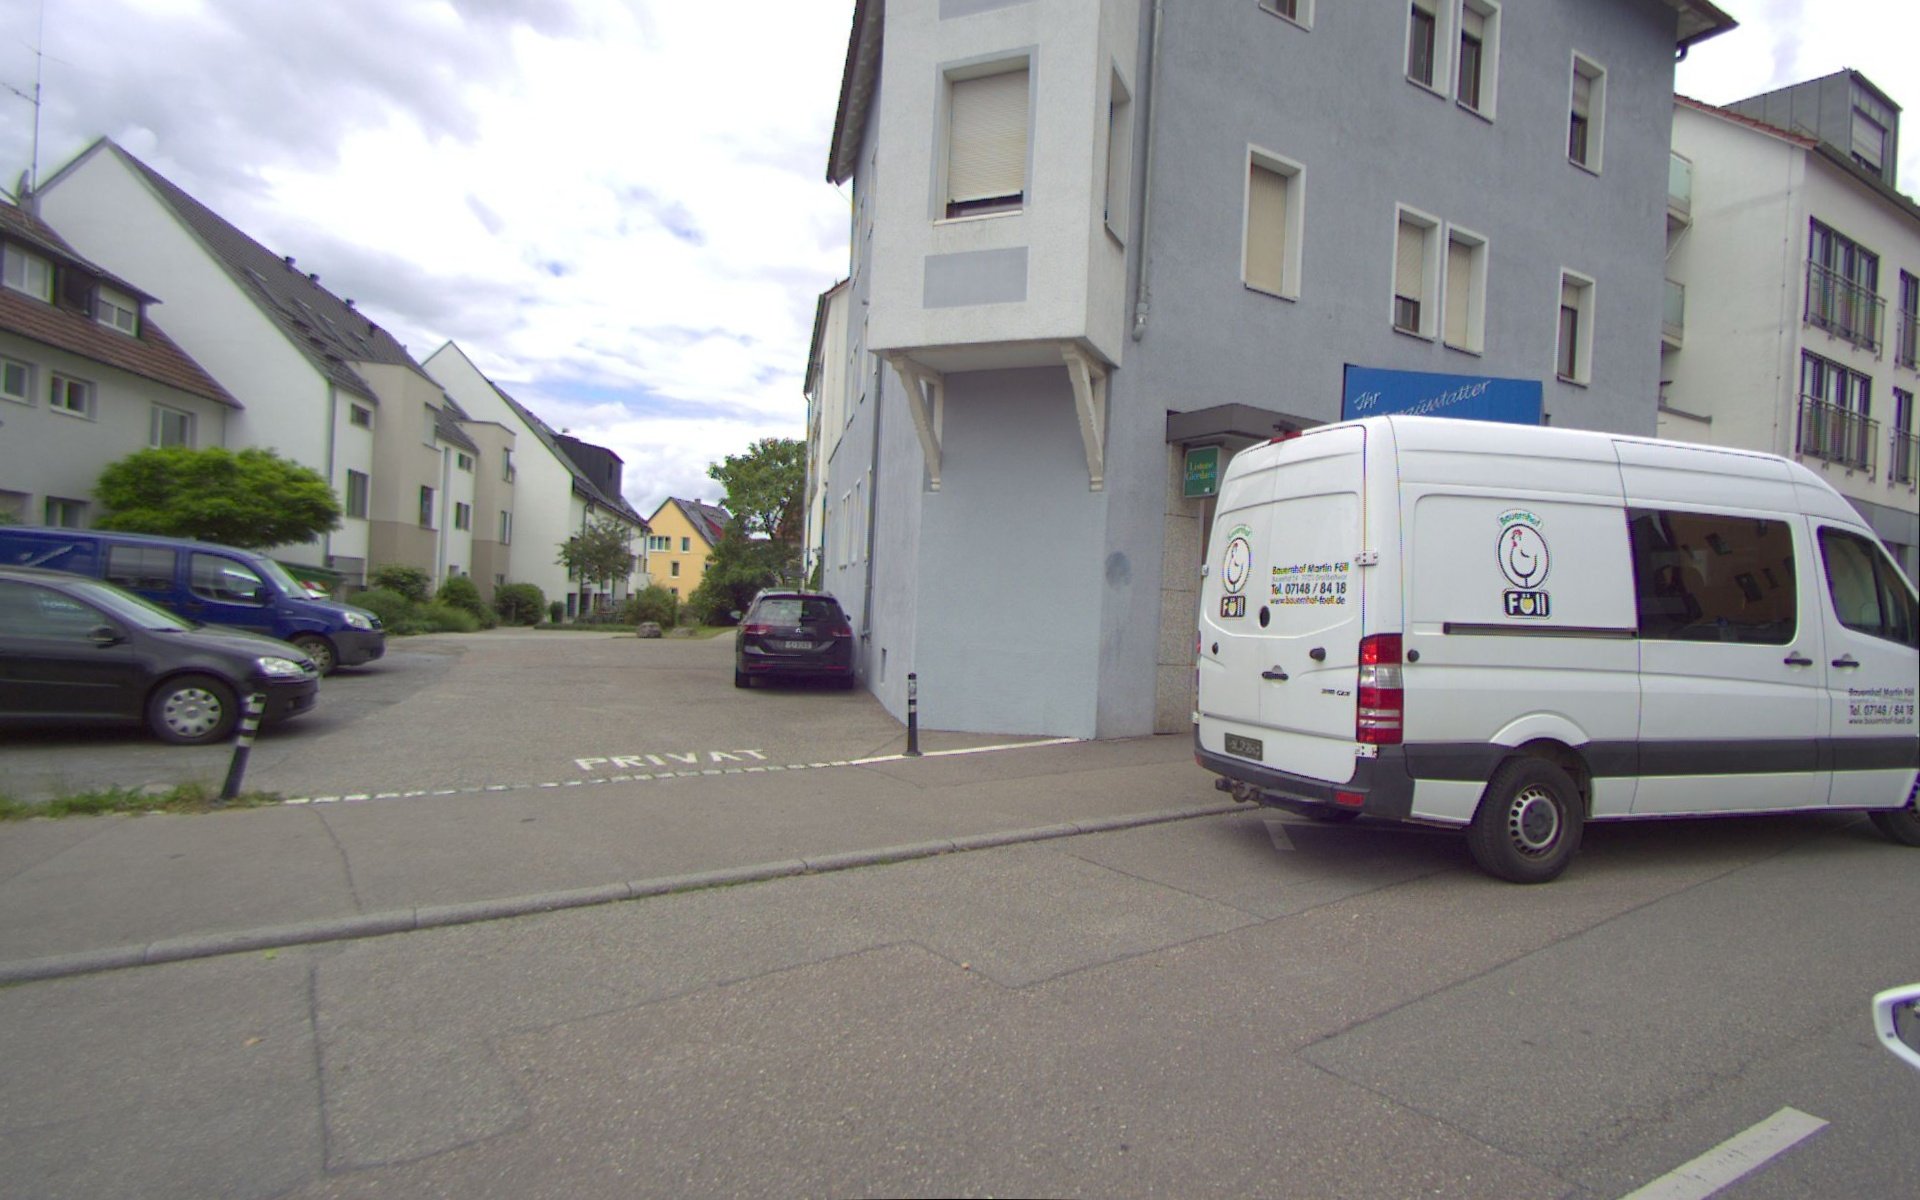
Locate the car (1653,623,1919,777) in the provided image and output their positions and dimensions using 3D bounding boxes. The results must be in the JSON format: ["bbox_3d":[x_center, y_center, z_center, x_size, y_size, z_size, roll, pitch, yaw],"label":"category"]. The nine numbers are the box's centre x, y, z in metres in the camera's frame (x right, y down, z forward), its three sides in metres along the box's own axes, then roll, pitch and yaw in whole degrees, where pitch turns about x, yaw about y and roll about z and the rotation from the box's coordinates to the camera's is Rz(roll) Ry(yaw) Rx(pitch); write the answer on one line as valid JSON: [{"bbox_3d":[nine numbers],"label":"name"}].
[{"bbox_3d":[9.802,1.014,11.391,3.956,1.430,1.788,1,0,-32],"label":"car"}]

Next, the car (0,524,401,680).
[{"bbox_3d":[-10.558,0.065,14.070,4.558,1.934,1.830,1,0,-24],"label":"car"}]

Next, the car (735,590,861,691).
[{"bbox_3d":[-2.565,0.574,15.770,1.692,1.370,3.993,1,-1,-10],"label":"car"}]

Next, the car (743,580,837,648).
[{"bbox_3d":[-3.939,0.315,23.534,1.964,1.411,4.408,1,-1,-9],"label":"car"}]

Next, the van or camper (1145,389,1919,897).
[{"bbox_3d":[4.639,0.299,7.238,6.108,2.642,2.318,1,0,-17],"label":"van or camper"}]

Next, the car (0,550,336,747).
[{"bbox_3d":[-8.260,0.363,9.029,4.362,1.573,1.984,1,2,-29],"label":"car"}]
